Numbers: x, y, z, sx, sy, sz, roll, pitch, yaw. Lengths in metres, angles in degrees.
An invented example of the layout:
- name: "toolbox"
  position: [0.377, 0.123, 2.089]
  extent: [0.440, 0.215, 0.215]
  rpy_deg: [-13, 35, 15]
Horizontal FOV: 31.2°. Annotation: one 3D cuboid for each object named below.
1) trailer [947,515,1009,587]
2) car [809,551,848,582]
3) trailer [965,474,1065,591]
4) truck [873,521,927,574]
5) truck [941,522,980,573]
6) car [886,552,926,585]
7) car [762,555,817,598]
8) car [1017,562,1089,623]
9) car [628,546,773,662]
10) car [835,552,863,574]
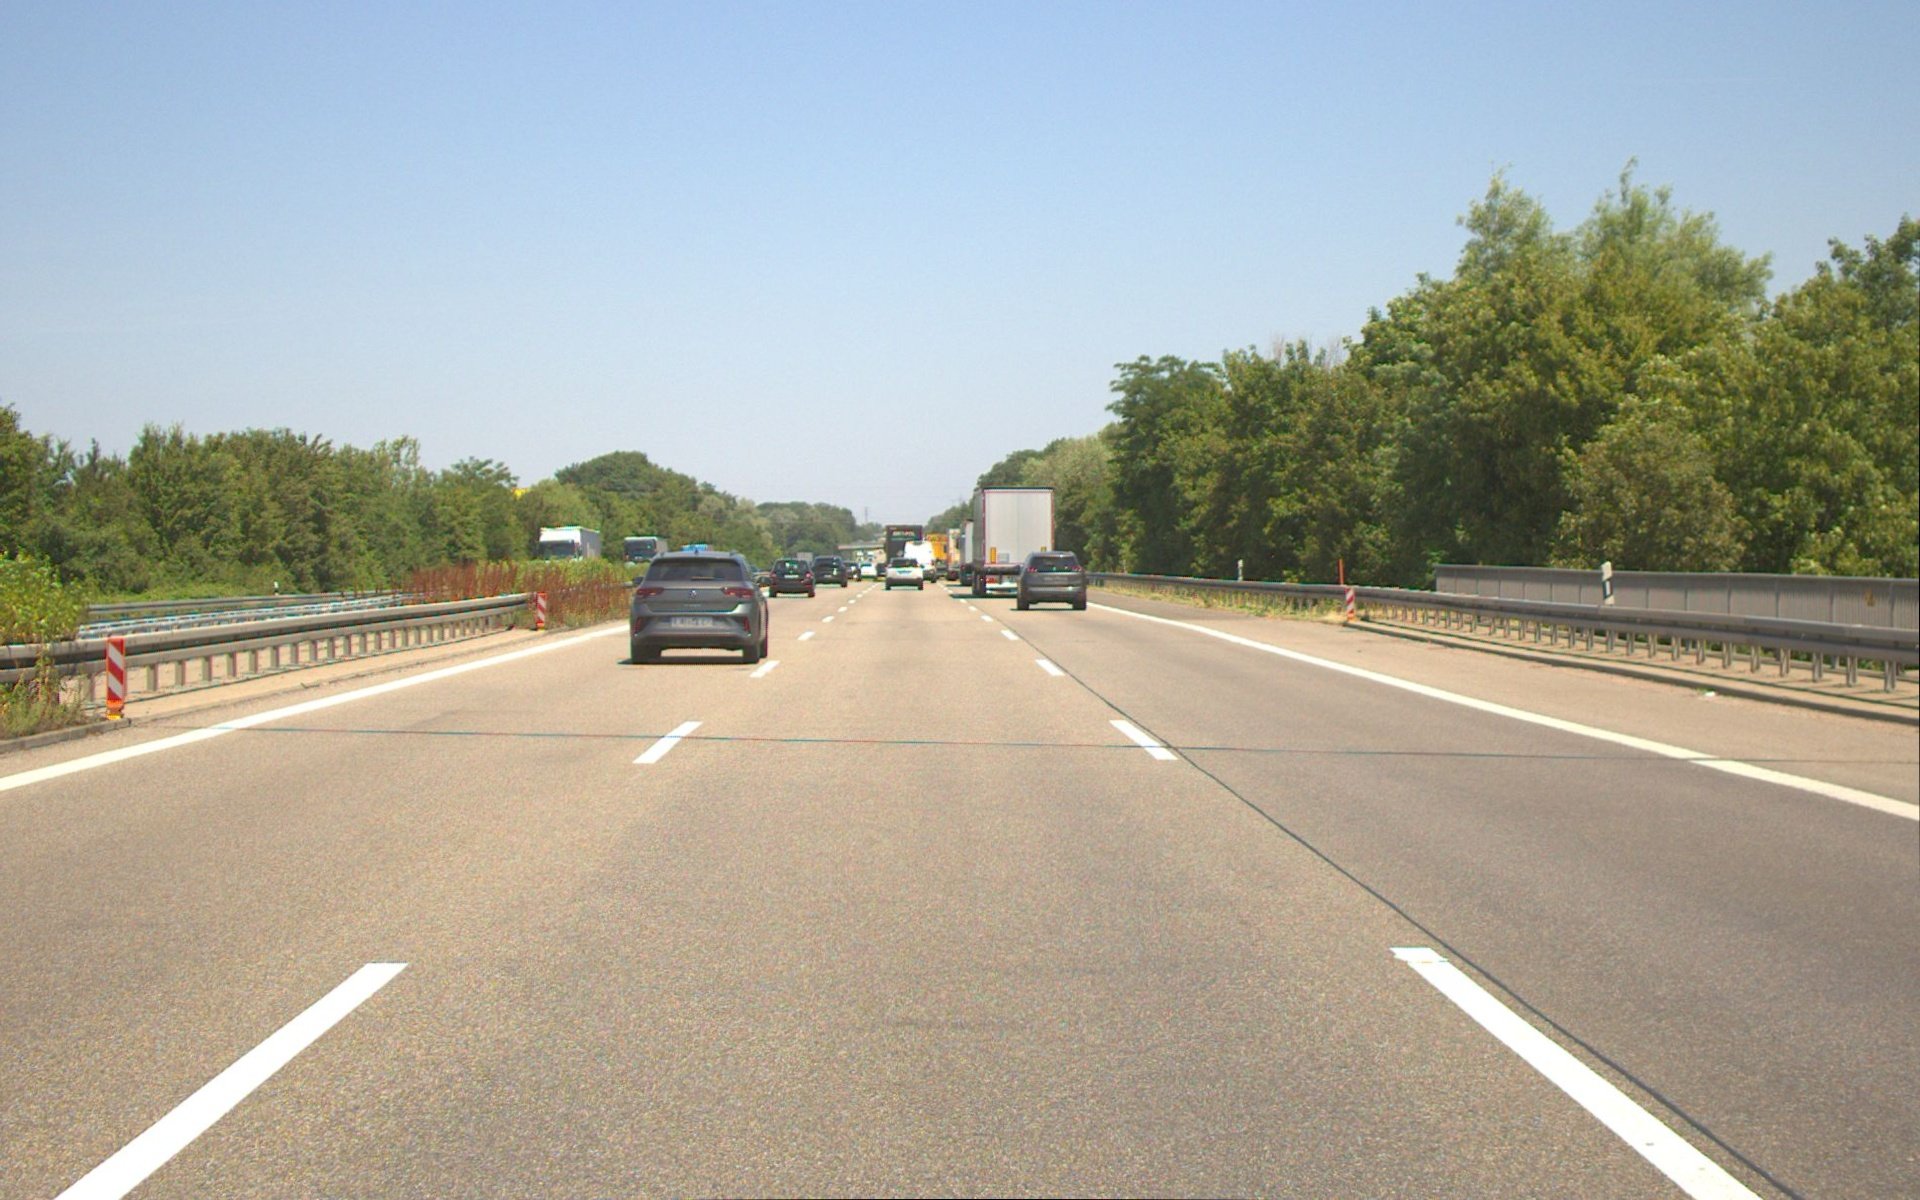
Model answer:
- name: "trailer"
  position: [0.960, -2.764, 191.308]
  extent: [3.122, 3.913, 9.937]
  rpy_deg: [0, 1, -2]
- name: "car"
  position: [-6.901, -1.769, 180.956]
  extent: [1.907, 1.525, 4.286]
  rpy_deg: [0, 1, -1]
- name: "trailer"
  position: [1.994, -2.470, 130.051]
  extent: [3.434, 4.167, 13.633]
  rpy_deg: [0, 0, 0]
- name: "truck"
  position: [-4.220, -3.731, 243.915]
  extent: [3.667, 3.713, 7.108]
  rpy_deg: [0, 1, 0]
- name: "truck"
  position: [0.061, -3.952, 256.304]
  extent: [2.792, 3.713, 7.108]
  rpy_deg: [0, 1, 0]
- name: "car"
  position: [-2.550, -1.497, 163.105]
  extent: [1.900, 1.525, 4.084]
  rpy_deg: [0, 1, -1]
- name: "car"
  position: [-6.373, -0.889, 128.859]
  extent: [1.900, 1.525, 4.084]
  rpy_deg: [0, 1, -1]
- name: "car"
  position: [2.571, -0.231, 95.785]
  extent: [1.845, 1.623, 4.135]
  rpy_deg: [-1, 1, 0]
- name: "car"
  position: [-3.610, 0.018, 48.418]
  extent: [1.759, 1.525, 4.286]
  rpy_deg: [0, 1, -1]
- name: "car"
  position: [-8.076, -2.682, 249.873]
  extent: [1.907, 1.525, 4.286]
  rpy_deg: [0, 1, -1]
